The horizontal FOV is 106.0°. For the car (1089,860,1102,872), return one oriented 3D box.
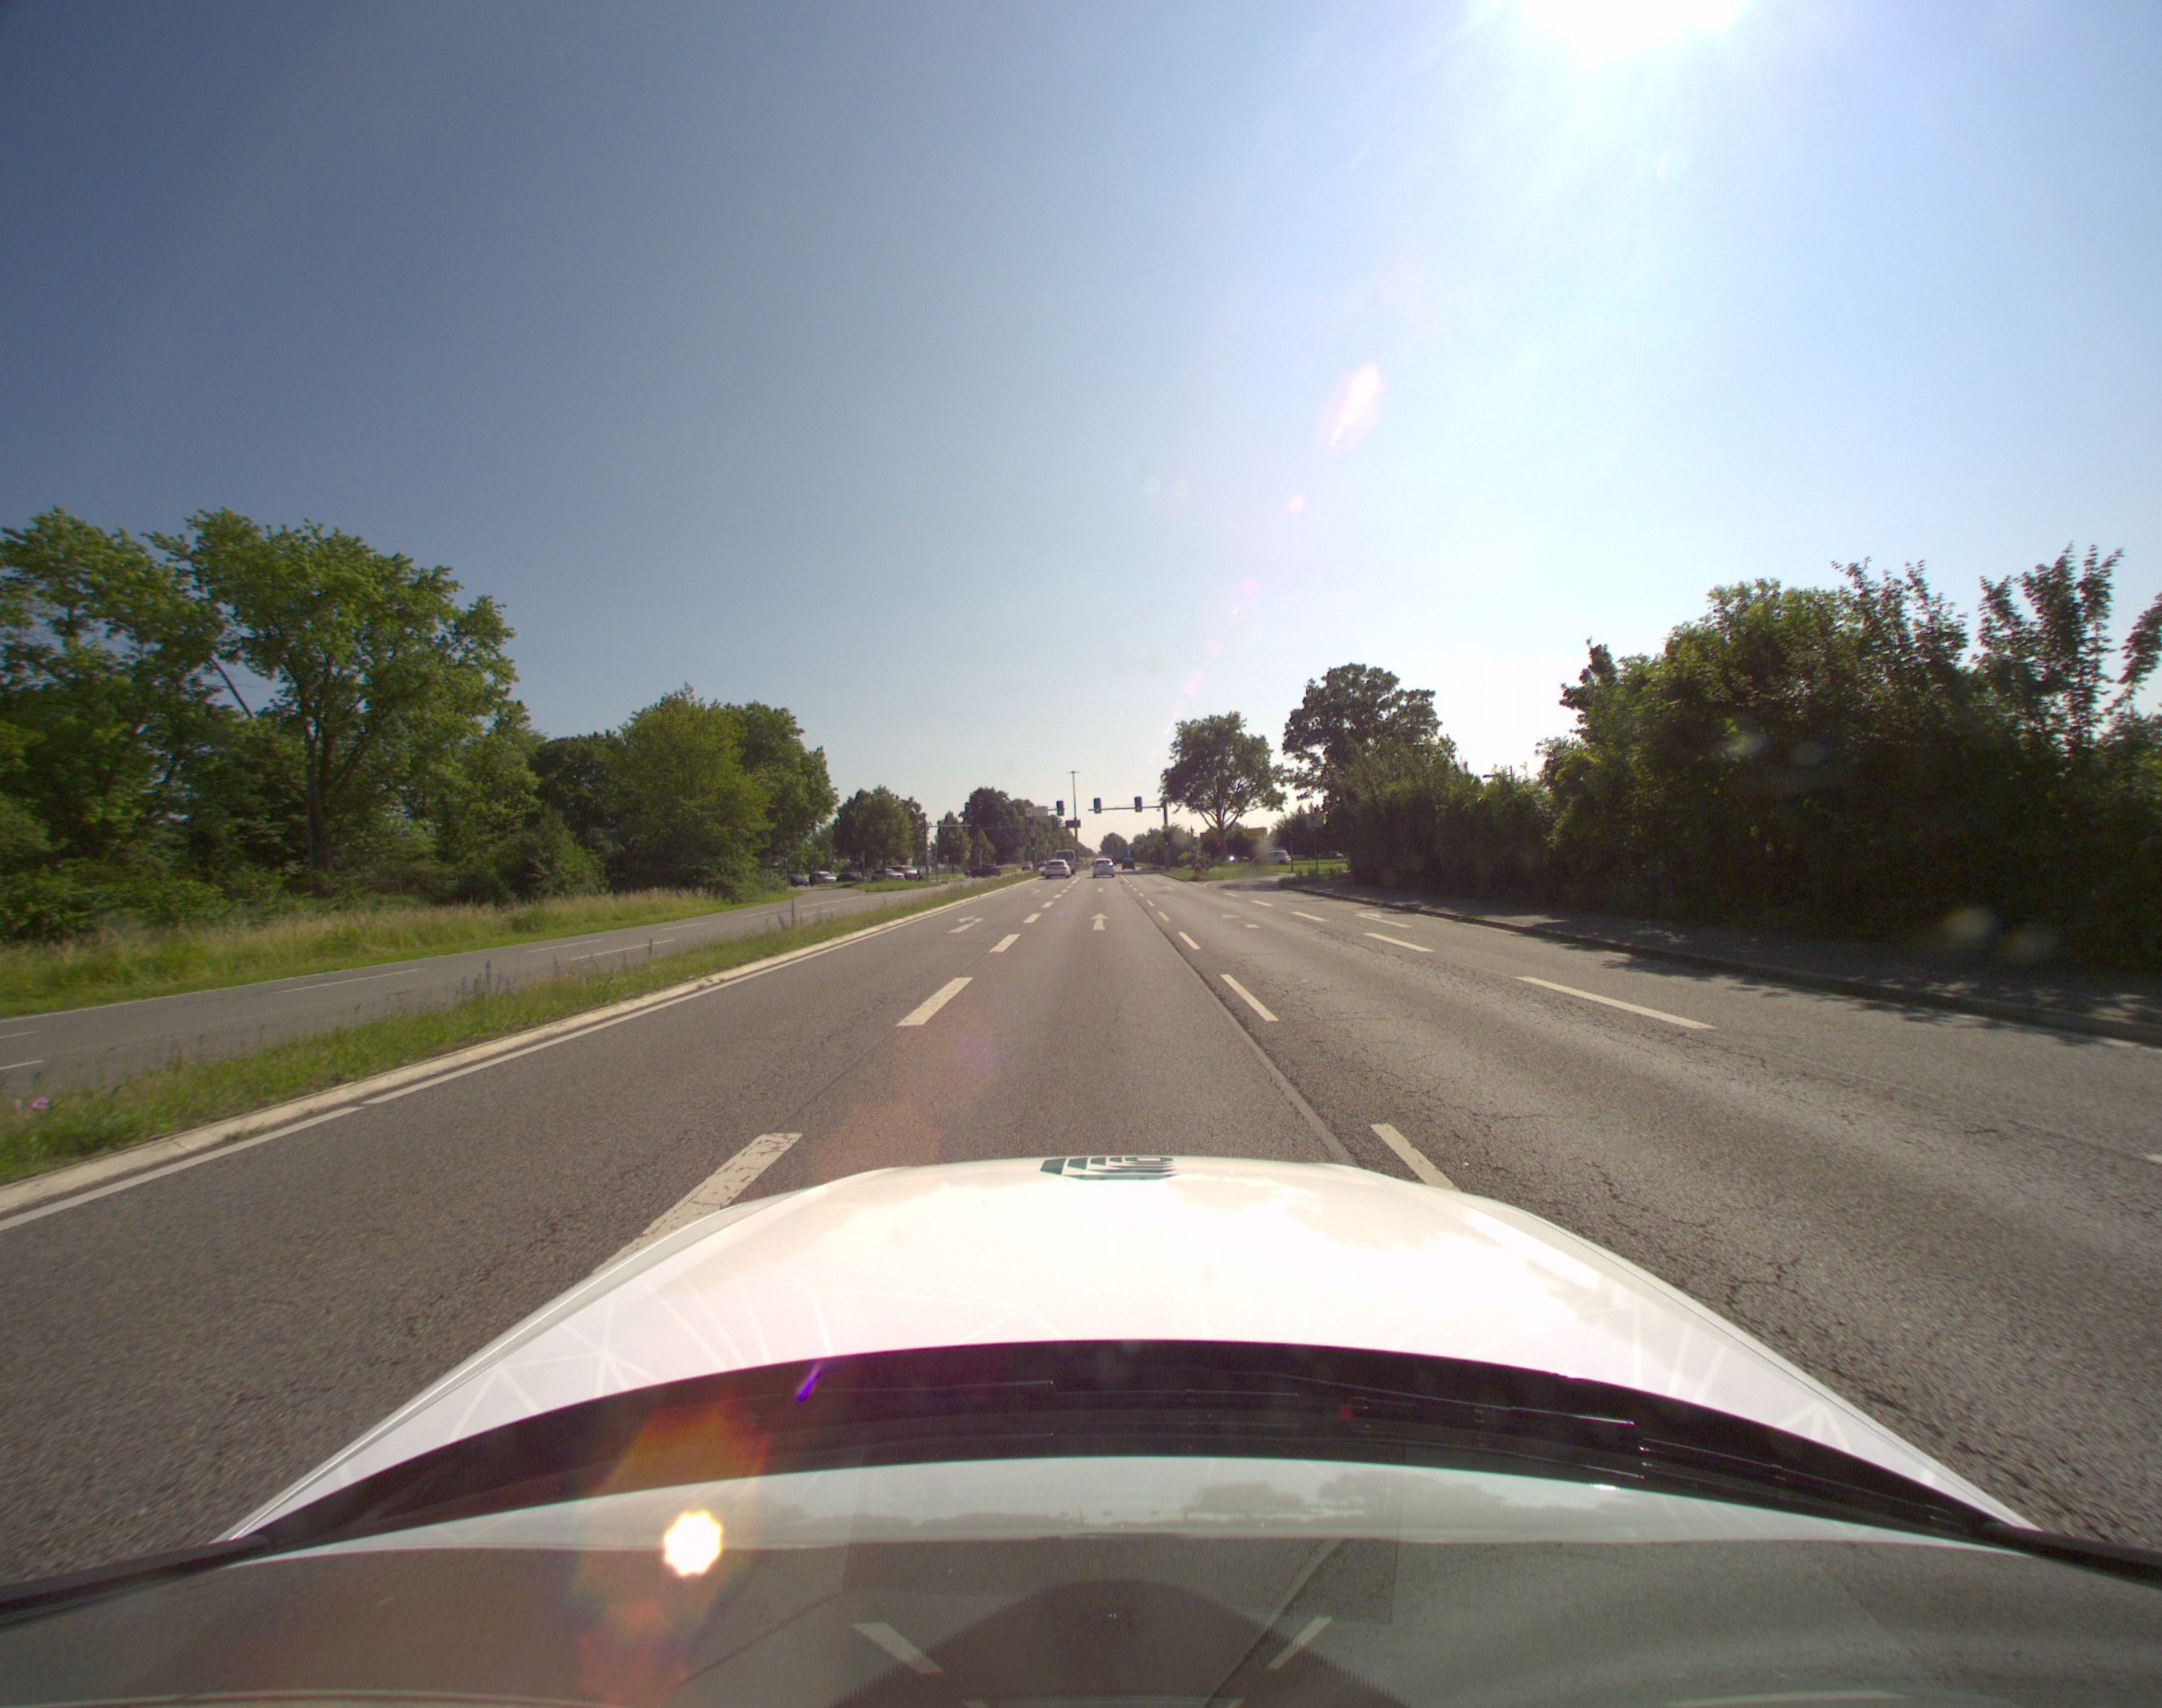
[{"bbox_3d":[1.850,1.507,102.774,1.566,1.414,3.279,-3,0,2],"label":"car"}]

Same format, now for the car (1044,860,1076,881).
[{"bbox_3d":[-1.614,1.275,64.404,1.803,1.464,4.979,-3,-1,6],"label":"car"}]

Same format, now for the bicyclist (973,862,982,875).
[{"bbox_3d":[-12.907,1.825,101.387,0.854,1.618,0.763,-2,-1,29],"label":"bicyclist"}]

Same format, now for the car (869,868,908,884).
[{"bbox_3d":[-22.358,2.554,94.498,4.212,1.606,2.018,-4,-1,37],"label":"car"}]

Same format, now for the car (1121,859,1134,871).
[{"bbox_3d":[5.763,1.362,100.876,1.566,1.414,3.278,-2,-1,2],"label":"car"}]

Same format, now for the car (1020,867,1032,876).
[{"bbox_3d":[-9.013,2.838,132.945,1.480,1.414,3.763,-5,0,2],"label":"car"}]

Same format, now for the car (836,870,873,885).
[{"bbox_3d":[-27.285,2.827,98.131,4.212,1.606,2.018,-4,-1,37],"label":"car"}]

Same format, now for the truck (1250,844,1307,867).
[{"bbox_3d":[22.297,0.261,92.169,2.353,2.386,6.410,1,-2,-31],"label":"truck"}]

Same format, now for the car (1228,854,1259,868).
[{"bbox_3d":[19.309,0.869,97.010,1.625,1.547,3.789,0,-2,-29],"label":"car"}]

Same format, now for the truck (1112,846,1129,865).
[{"bbox_3d":[7.584,0.296,157.321,2.881,3.428,9.172,-3,0,2],"label":"truck"}]

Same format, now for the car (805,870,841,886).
[{"bbox_3d":[-32.453,3.034,102.458,4.448,1.801,2.018,-4,-1,37],"label":"car"}]

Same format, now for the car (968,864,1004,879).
[{"bbox_3d":[-11.020,2.058,94.416,3.948,1.649,1.926,-2,-1,39],"label":"car"}]

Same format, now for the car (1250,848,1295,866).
[{"bbox_3d":[17.855,0.293,75.926,3.708,1.469,1.796,-3,-1,27],"label":"car"}]

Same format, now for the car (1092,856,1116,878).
[{"bbox_3d":[1.814,0.998,63.913,1.792,1.553,4.002,-1,0,2],"label":"car"}]

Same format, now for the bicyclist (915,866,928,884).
[{"bbox_3d":[-13.915,1.867,71.115,0.842,1.517,0.748,-2,0,6],"label":"bicyclist"}]

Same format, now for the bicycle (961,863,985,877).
[{"bbox_3d":[-13.550,1.989,101.761,2.765,1.670,1.143,-3,-1,28],"label":"bicycle"}]

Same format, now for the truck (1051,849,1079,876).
[{"bbox_3d":[-1.432,0.759,77.164,2.366,2.389,6.040,-3,0,0],"label":"truck"}]

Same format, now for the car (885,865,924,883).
[{"bbox_3d":[-21.298,2.439,98.077,4.595,1.950,2.013,-4,-1,36],"label":"car"}]

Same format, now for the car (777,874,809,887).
[{"bbox_3d":[-37.459,3.469,105.964,4.072,1.512,1.932,-4,-1,37],"label":"car"}]

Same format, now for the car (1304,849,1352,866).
[{"bbox_3d":[25.175,0.424,83.121,1.895,1.635,4.418,1,-2,-37],"label":"car"}]
